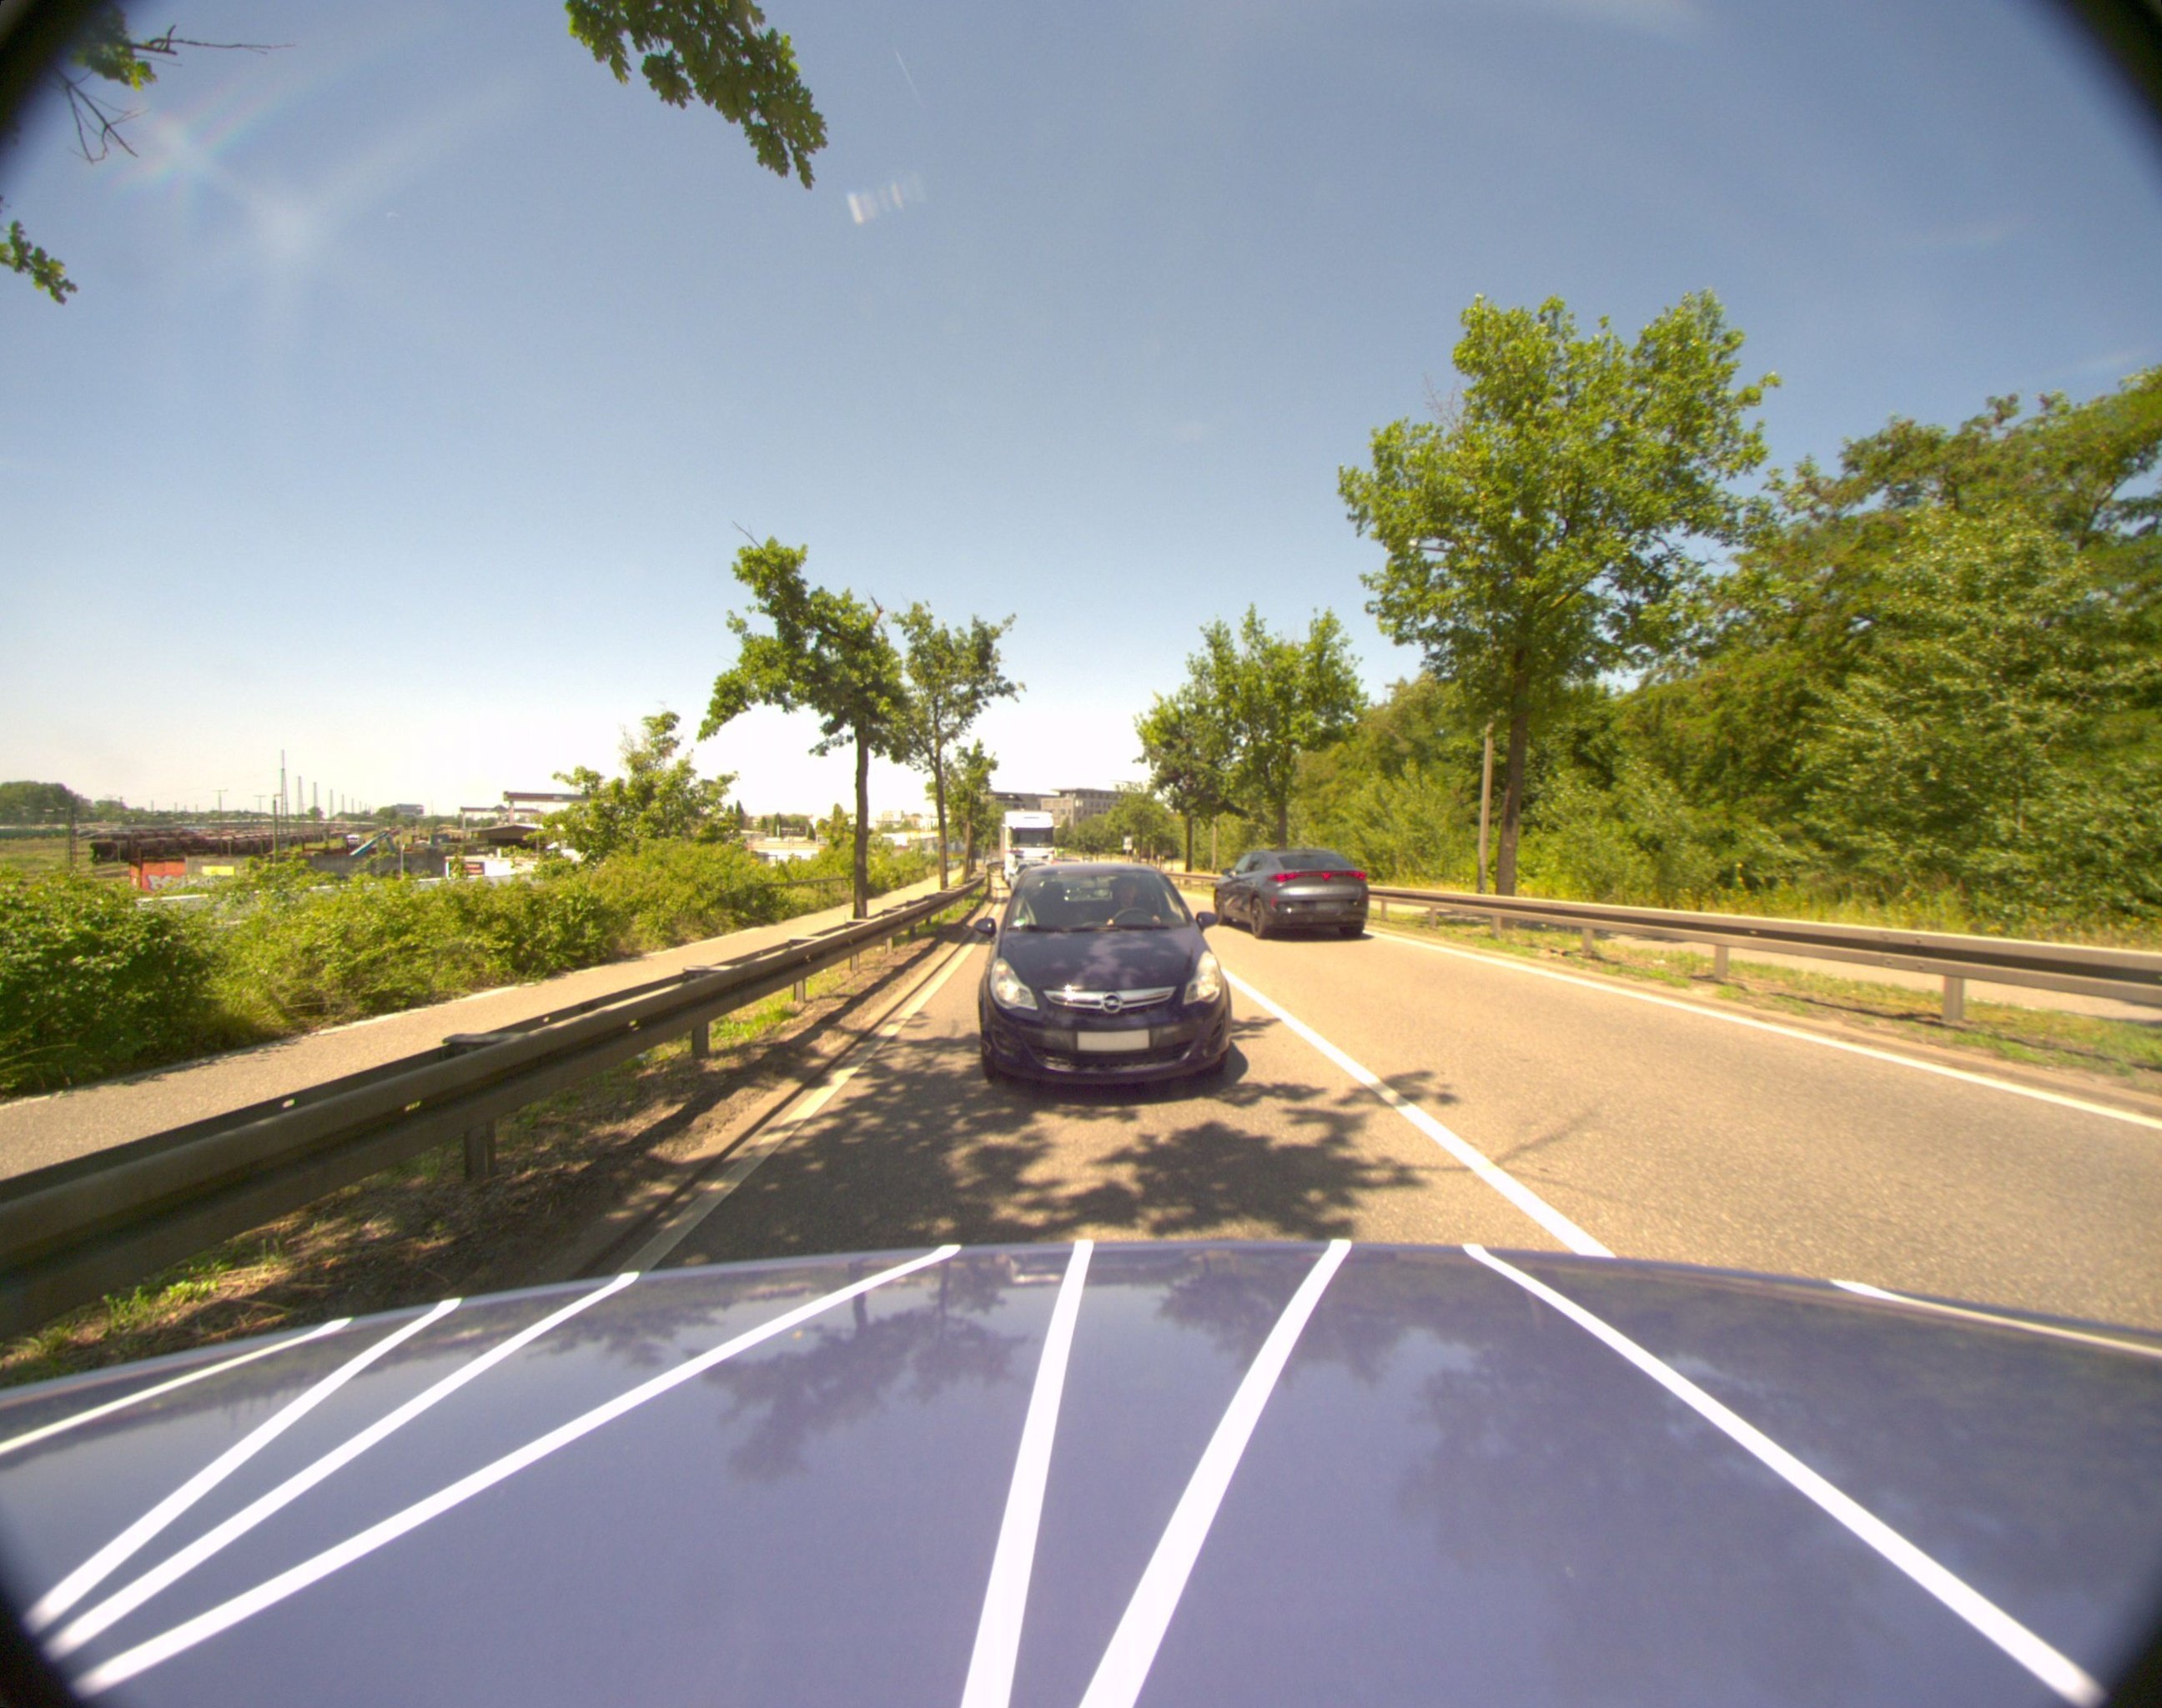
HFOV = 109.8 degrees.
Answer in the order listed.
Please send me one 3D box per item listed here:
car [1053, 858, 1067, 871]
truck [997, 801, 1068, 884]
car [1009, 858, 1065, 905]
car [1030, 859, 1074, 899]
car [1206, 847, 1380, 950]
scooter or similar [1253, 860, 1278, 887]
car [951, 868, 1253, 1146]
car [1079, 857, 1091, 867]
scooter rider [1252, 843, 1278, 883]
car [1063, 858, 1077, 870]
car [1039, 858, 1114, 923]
[{"bbox_3d":[-3.504,1.786,125.871,1.779,2.002,4.001,-2,1,6],"label":"car"},{"bbox_3d":[-3.389,-0.628,47.142,3.072,4.146,16.898,-2,1,-8],"label":"truck"},{"bbox_3d":[-1.533,0.911,26.805,1.780,1.398,3.998,-2,1,-3],"label":"car"},{"bbox_3d":[-1.369,1.071,34.381,1.781,1.569,3.998,-2,1,-5],"label":"car"},{"bbox_3d":[3.777,0.730,14.416,1.874,1.594,4.392,-2,0,-2],"label":"car"},{"bbox_3d":[7.740,0.796,31.897,0.779,1.085,1.095,-2,1,1],"label":"scooter or similar"},{"bbox_3d":[0.084,0.926,6.345,1.720,1.455,3.837,-2,1,-1],"label":"car"},{"bbox_3d":[0.845,1.580,153.489,1.778,2.002,4.003,-2,1,11],"label":"car"},{"bbox_3d":[7.716,0.362,31.884,0.779,1.648,1.120,-2,1,1],"label":"scooter rider"},{"bbox_3d":[-2.038,1.875,140.537,1.778,2.002,4.003,-2,1,11],"label":"car"},{"bbox_3d":[-0.163,0.903,20.522,1.780,1.498,3.895,-2,1,-2],"label":"car"}]
